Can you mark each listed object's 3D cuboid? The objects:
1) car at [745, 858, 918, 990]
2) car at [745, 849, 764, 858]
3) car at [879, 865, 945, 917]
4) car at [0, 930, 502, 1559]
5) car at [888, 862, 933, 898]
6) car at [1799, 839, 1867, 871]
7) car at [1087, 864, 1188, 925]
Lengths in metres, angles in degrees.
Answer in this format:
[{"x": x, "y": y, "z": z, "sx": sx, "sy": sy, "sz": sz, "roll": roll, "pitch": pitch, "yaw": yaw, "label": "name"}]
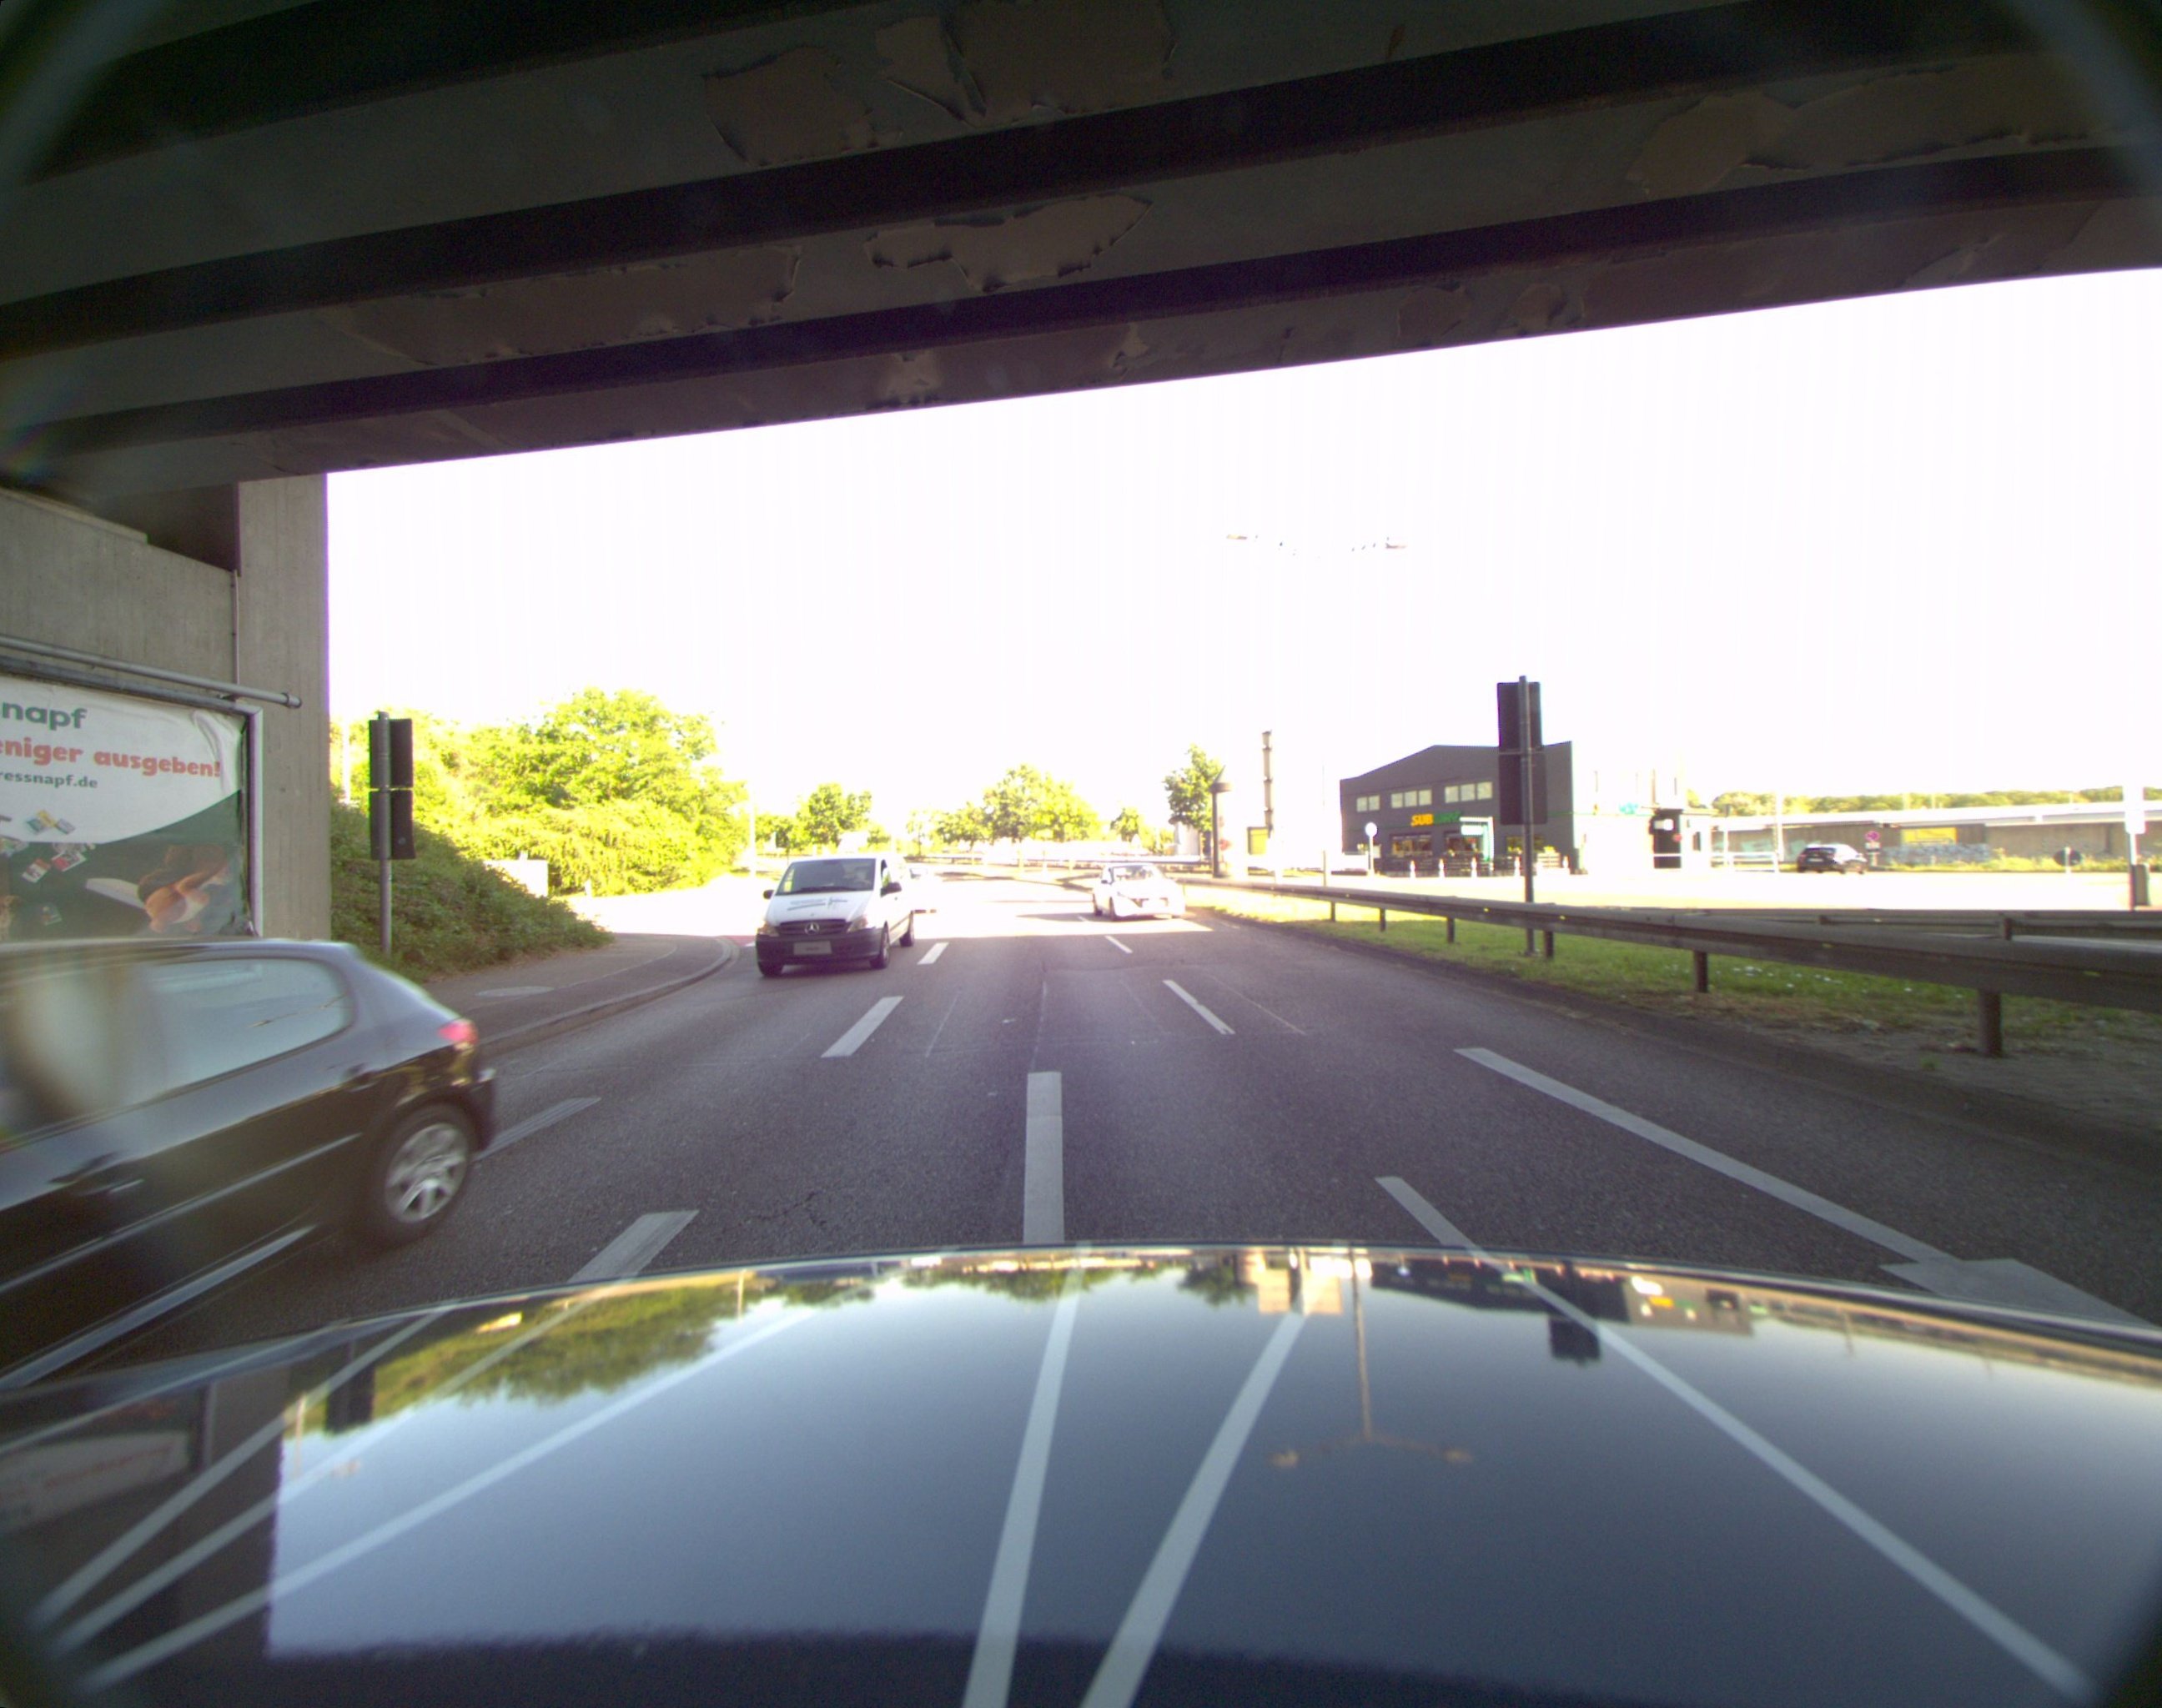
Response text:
[{"x": -4.130, "y": 1.016, "z": 13.450, "sx": 1.903, "sy": 1.825, "sz": 4.832, "roll": -2, "pitch": 0, "yaw": -7, "label": "car"}, {"x": -62.537, "y": -0.027, "z": 145.527, "sx": 1.809, "sy": 1.597, "sz": 4.284, "roll": -2, "pitch": 1, "yaw": -43, "label": "car"}, {"x": -5.903, "y": 1.220, "z": 26.974, "sx": 2.000, "sy": 1.542, "sz": 4.417, "roll": -2, "pitch": 0, "yaw": -9, "label": "car"}, {"x": -3.685, "y": 1.128, "z": 1.833, "sx": 1.750, "sy": 1.447, "sz": 3.716, "roll": -2, "pitch": 0, "yaw": -2, "label": "car"}, {"x": -8.550, "y": 1.244, "z": 37.907, "sx": 1.781, "sy": 1.591, "sz": 4.099, "roll": -3, "pitch": 1, "yaw": -17, "label": "car"}, {"x": 38.460, "y": 0.047, "z": 38.838, "sx": 4.007, "sy": 1.434, "sz": 1.878, "roll": -3, "pitch": 1, "yaw": -37, "label": "car"}, {"x": 1.379, "y": 1.013, "z": 20.173, "sx": 1.738, "sy": 1.395, "sz": 3.868, "roll": -2, "pitch": -1, "yaw": -10, "label": "car"}]
